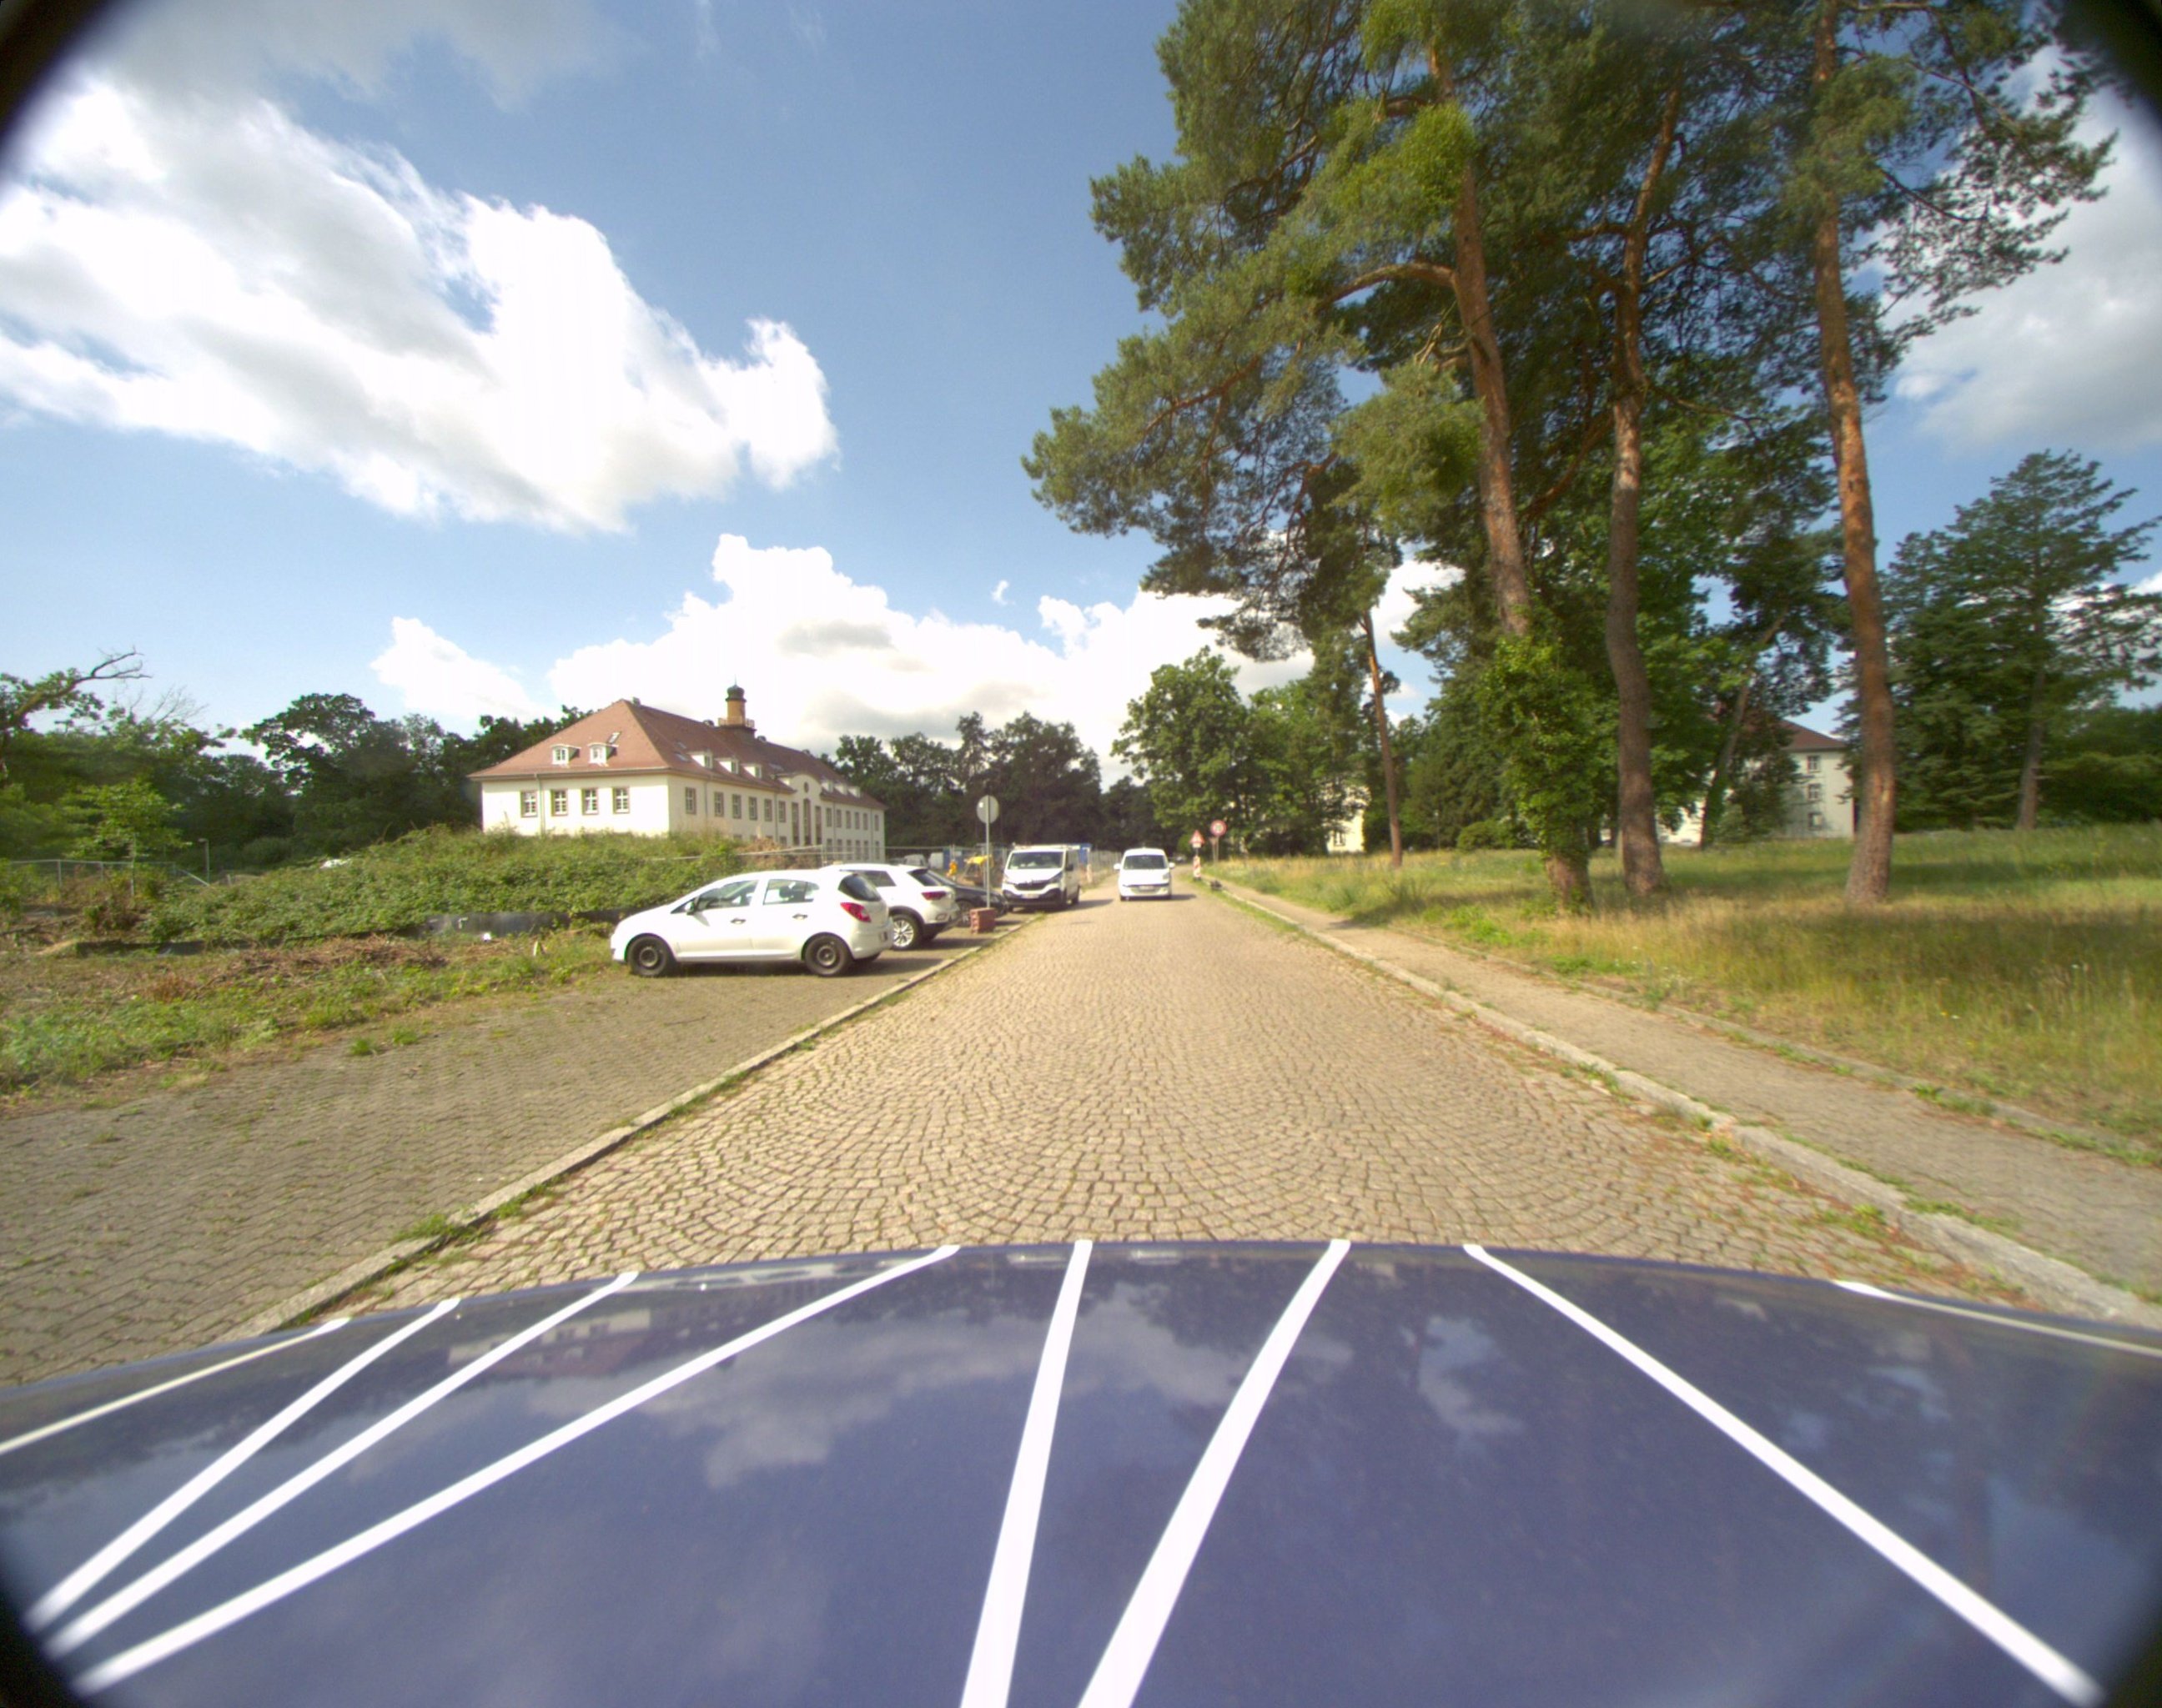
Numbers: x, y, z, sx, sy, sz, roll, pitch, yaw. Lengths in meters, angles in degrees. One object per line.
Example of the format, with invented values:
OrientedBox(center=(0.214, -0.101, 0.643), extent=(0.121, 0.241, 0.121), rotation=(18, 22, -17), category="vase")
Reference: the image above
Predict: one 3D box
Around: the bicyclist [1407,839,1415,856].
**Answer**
OrientedBox(center=(34.701, -0.680, 80.009), extent=(0.570, 1.760, 0.635), rotation=(-2, 1, 7), category="bicyclist")

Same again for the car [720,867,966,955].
OrientedBox(center=(-4.314, 1.009, 14.176), extent=(3.996, 1.498, 1.747), rotation=(0, 1, 3), category="car")

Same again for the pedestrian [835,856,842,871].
OrientedBox(center=(-28.674, 1.075, 89.840), extent=(0.491, 1.777, 0.507), rotation=(-2, 1, 2), category="pedestrian")

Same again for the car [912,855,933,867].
OrientedBox(center=(-22.399, 0.961, 107.434), extent=(1.801, 1.674, 4.041), rotation=(-1, 0, 6), category="car")

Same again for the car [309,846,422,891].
OrientedBox(center=(-43.181, 0.852, 45.884), extent=(5.428, 2.576, 2.249), rotation=(-1, 1, 13), category="car")

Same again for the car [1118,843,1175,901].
OrientedBox(center=(2.372, 0.639, 27.502), extent=(1.838, 1.857, 4.833), rotation=(-2, -1, 5), category="car")

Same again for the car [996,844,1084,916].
OrientedBox(center=(-1.166, 0.724, 24.707), extent=(1.918, 2.041, 5.681), rotation=(-1, 0, 6), category="car")

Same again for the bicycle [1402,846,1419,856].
OrientedBox(center=(34.714, -0.295, 80.006), extent=(1.555, 0.990, 0.635), rotation=(-2, 0, 7), category="bicycle")

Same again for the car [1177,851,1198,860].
OrientedBox(center=(21.209, 0.352, 151.574), extent=(4.082, 1.634, 1.767), rotation=(-1, 1, 5), category="car")

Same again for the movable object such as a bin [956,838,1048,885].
OrientedBox(center=(-4.464, 0.410, 43.857), extent=(2.143, 2.507, 5.668), rotation=(-1, 0, 34), category="movable object such as a bin")

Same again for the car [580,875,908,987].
OrientedBox(center=(-4.795, 1.062, 11.186), extent=(4.051, 1.455, 1.704), rotation=(0, 1, 3), category="car")

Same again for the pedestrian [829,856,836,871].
OrientedBox(center=(-28.907, 1.089, 88.398), extent=(0.490, 1.777, 0.507), rotation=(-2, 1, 28), category="pedestrian")

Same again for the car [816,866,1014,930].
OrientedBox(center=(-3.986, 1.057, 18.717), extent=(4.464, 1.466, 1.745), rotation=(0, 1, 1), category="car")

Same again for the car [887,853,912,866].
OrientedBox(center=(-25.722, 0.825, 107.635), extent=(1.883, 1.718, 4.710), rotation=(-1, 0, 6), category="car")
